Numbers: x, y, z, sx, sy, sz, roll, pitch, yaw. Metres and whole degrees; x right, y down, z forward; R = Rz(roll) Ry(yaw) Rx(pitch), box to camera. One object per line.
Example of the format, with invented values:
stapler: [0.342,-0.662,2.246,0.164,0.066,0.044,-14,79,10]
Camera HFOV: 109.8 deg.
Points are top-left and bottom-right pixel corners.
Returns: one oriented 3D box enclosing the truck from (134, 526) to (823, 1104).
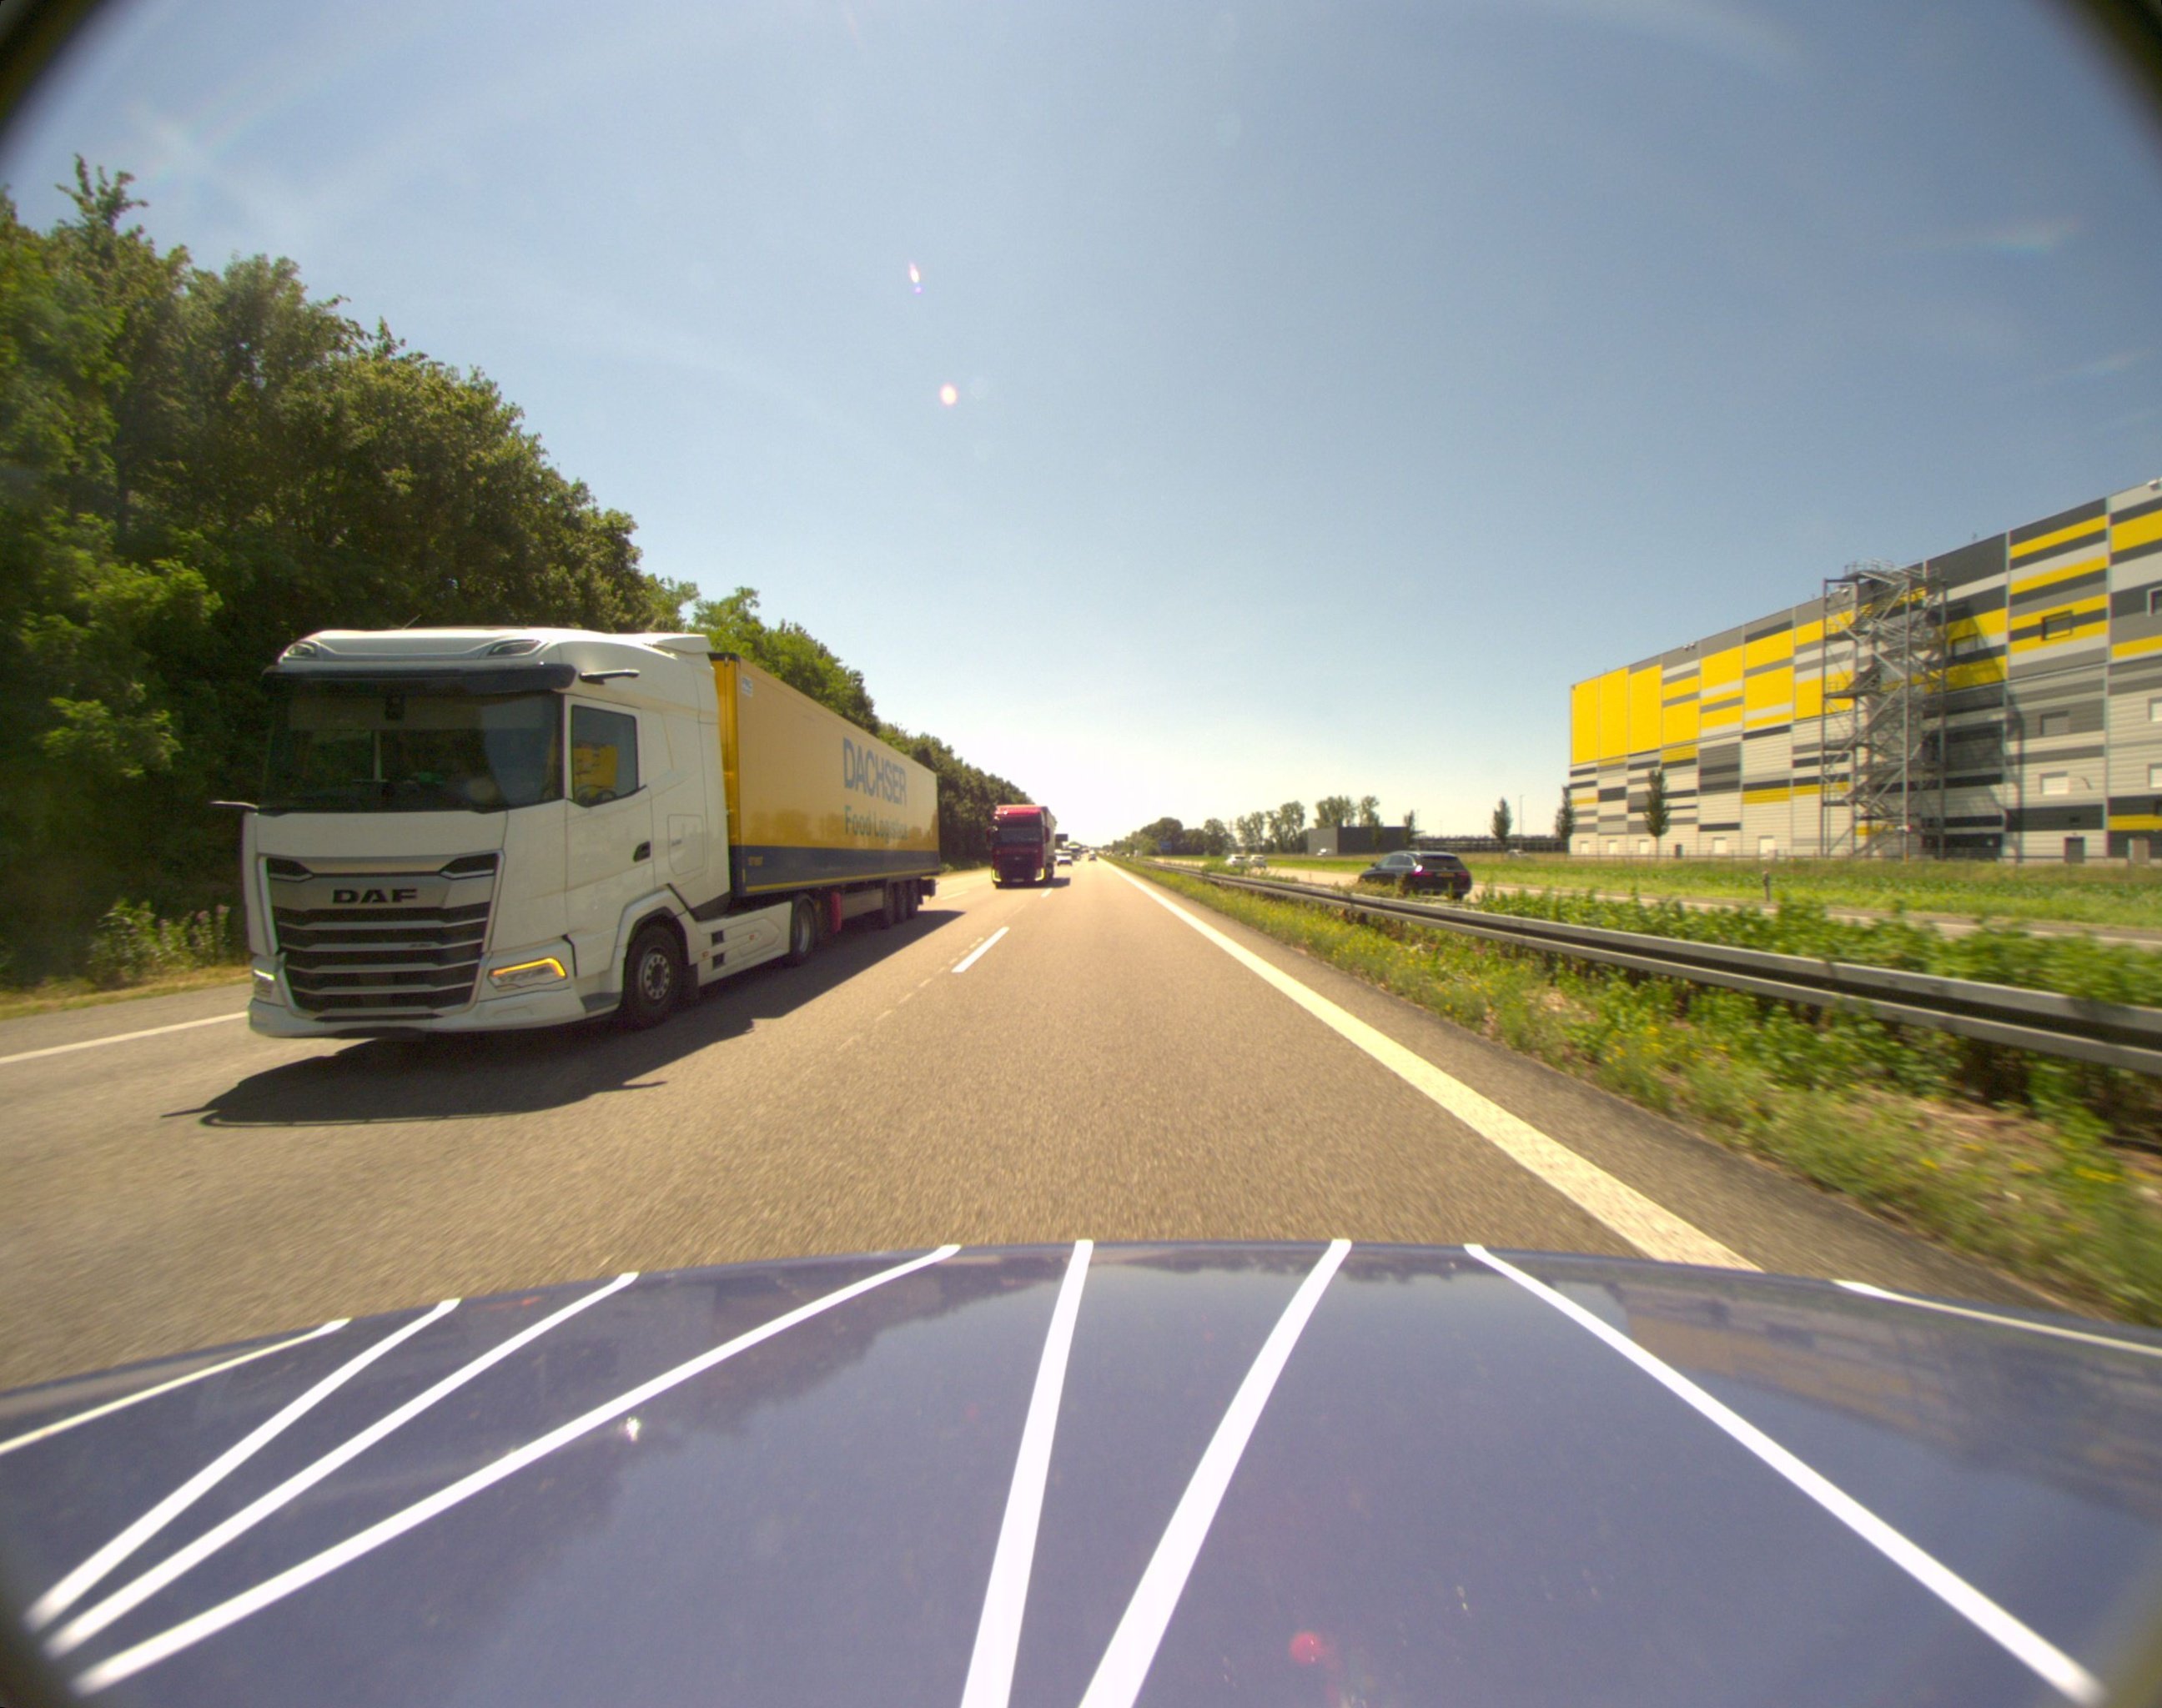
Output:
truck: [-5.309,-0.289,8.453,2.684,4.046,6.048,-2,1,0]

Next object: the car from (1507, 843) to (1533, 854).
car: [71.882,-0.937,124.461,1.832,1.726,4.268,0,0,0]

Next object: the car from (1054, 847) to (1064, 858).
car: [-4.673,-0.402,164.947,2.073,2.328,5.767,0,0,-1]

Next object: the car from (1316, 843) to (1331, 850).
car: [76.046,-2.305,238.169,2.560,2.235,6.081,0,0,0]

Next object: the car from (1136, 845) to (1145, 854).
car: [17.590,-1.313,224.780,2.073,2.539,7.934,0,0,0]

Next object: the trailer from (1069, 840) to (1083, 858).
trailer: [-1.186,-1.253,185.401,3.005,4.046,13.833,-2,0,0]

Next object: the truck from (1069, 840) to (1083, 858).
truck: [-1.166,-1.177,177.752,2.998,4.046,5.770,-2,1,0]

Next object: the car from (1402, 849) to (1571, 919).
car: [9.985,0.652,19.194,1.869,1.523,4.580,0,1,1]

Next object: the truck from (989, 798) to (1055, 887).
truck: [-2.827,-0.537,38.177,2.870,4.046,5.770,-2,1,-1]

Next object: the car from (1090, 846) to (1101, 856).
car: [2.881,-0.653,154.639,2.073,1.959,5.109,0,0,-1]

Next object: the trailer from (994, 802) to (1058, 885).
trailer: [-2.961,-0.570,45.080,2.885,4.046,13.832,-2,0,-1]

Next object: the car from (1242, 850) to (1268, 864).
car: [18.923,0.296,82.826,1.804,1.523,4.631,0,1,0]

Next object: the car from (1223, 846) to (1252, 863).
car: [14.529,-0.002,70.846,1.804,1.523,4.483,0,1,1]

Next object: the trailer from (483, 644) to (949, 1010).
trailer: [-5.302,-0.345,15.469,2.684,4.046,13.833,-2,0,0]

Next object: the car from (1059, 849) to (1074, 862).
car: [-1.944,0.180,102.303,2.073,1.823,5.109,0,0,-1]
